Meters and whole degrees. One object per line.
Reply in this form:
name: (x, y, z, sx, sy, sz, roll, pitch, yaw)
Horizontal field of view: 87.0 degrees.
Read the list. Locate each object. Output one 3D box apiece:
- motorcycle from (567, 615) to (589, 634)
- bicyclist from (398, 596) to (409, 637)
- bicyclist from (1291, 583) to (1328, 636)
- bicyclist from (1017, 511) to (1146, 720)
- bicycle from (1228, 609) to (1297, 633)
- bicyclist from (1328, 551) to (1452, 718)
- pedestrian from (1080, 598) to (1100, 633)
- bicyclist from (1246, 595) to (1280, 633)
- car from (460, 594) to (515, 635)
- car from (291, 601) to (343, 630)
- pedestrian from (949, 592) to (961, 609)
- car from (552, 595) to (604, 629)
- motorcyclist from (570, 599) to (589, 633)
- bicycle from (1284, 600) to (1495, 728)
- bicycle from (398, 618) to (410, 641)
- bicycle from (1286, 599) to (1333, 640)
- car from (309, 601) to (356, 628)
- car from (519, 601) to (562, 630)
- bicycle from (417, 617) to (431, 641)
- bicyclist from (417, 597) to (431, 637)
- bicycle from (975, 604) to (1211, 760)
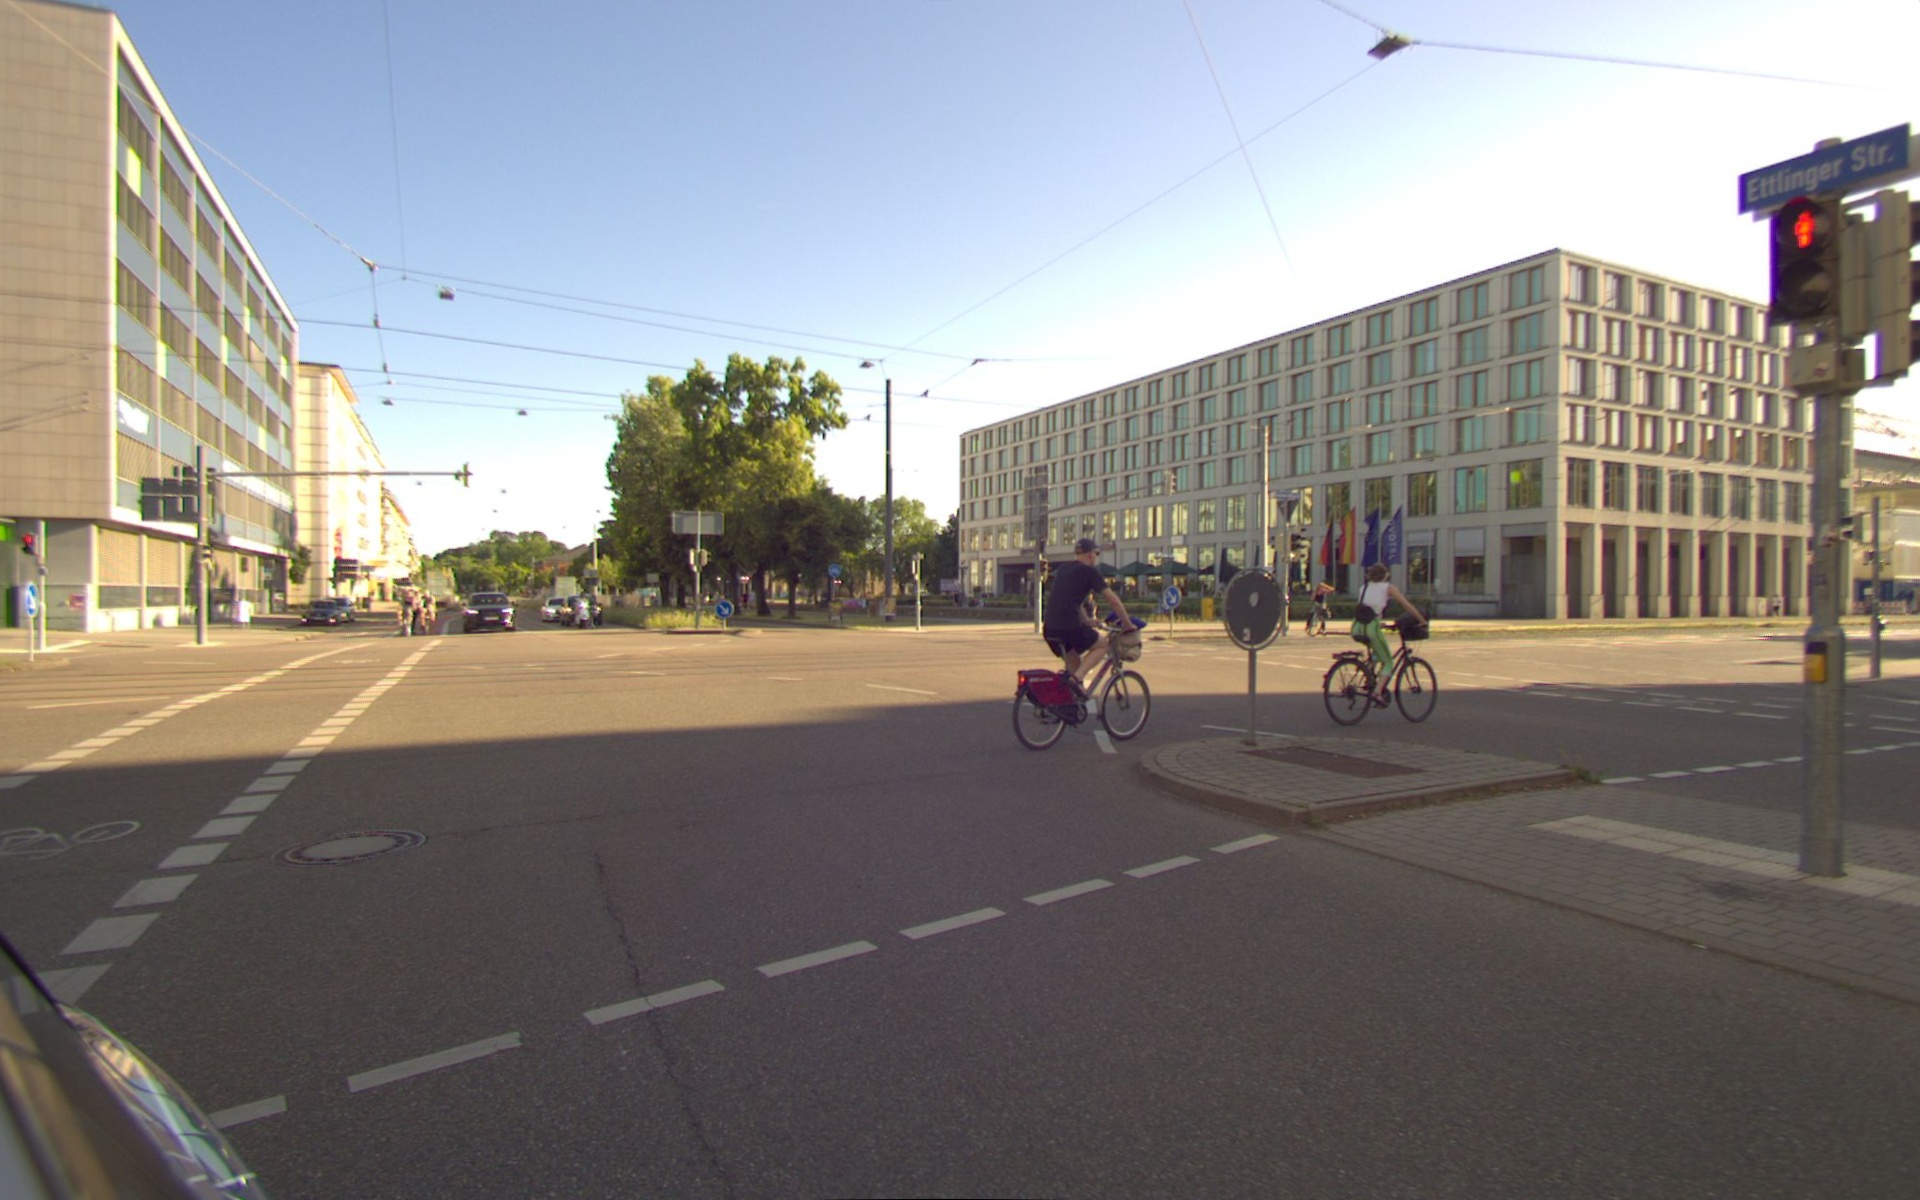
motorcycle: (-16.630, 1.068, 44.006, 0.613, 0.801, 1.312, 0, 0, -34)
bicyclist: (-21.756, 0.646, 39.583, 0.352, 1.588, 0.537, 0, 0, -26)
bicyclist: (10.948, 0.301, 31.728, 0.841, 1.631, 0.972, 0, 0, 3)
bicyclist: (1.076, 0.128, 9.026, 0.824, 1.756, 0.757, 1, 1, -27)
bicycle: (11.263, 0.786, 37.704, 2.300, 0.858, 0.844, 0, 0, -5)
bicyclist: (4.611, 0.352, 10.872, 0.909, 1.703, 0.778, 1, 1, -27)
pedestrian: (5.690, 0.674, 44.176, 0.613, 1.537, 0.605, 0, 0, -31)
bicyclist: (11.288, 0.515, 37.708, 0.958, 1.372, 0.828, 0, 0, -5)
car: (-19.871, 0.578, 42.485, 1.965, 1.585, 4.564, 0, 0, -26)
car: (-35.604, 0.824, 56.121, 1.965, 1.585, 4.564, 0, 0, -26)
pedestrian: (-0.465, 0.030, 90.698, 0.771, 1.537, 0.764, 0, 0, -26)
car: (-18.754, 0.569, 49.587, 1.965, 1.585, 4.564, 0, 0, -26)
motorcyclist: (-16.473, 0.675, 43.804, 0.597, 1.457, 0.738, 0, 0, -34)
bicycle: (4.646, 0.650, 10.905, 2.272, 1.249, 0.781, 1, 1, -27)
bicycle: (-21.757, 1.139, 39.583, 0.346, 0.880, 1.389, 0, 0, -26)
bicycle: (10.953, 0.591, 31.768, 0.835, 1.240, 2.013, 0, 0, 2)
car: (-38.160, 0.861, 61.645, 1.965, 1.585, 4.564, 0, 0, -26)
car: (-23.634, 0.831, 56.924, 1.965, 1.585, 4.564, 0, 0, -26)
bicycle: (-21.229, 1.142, 40.080, 0.445, 0.880, 1.389, 0, 0, -26)
bicyclist: (-21.198, 0.668, 40.026, 0.446, 1.588, 0.537, 0, 0, -26)
bicycle: (1.206, 0.676, 9.094, 1.986, 1.249, 0.781, 0, 1, -27)
